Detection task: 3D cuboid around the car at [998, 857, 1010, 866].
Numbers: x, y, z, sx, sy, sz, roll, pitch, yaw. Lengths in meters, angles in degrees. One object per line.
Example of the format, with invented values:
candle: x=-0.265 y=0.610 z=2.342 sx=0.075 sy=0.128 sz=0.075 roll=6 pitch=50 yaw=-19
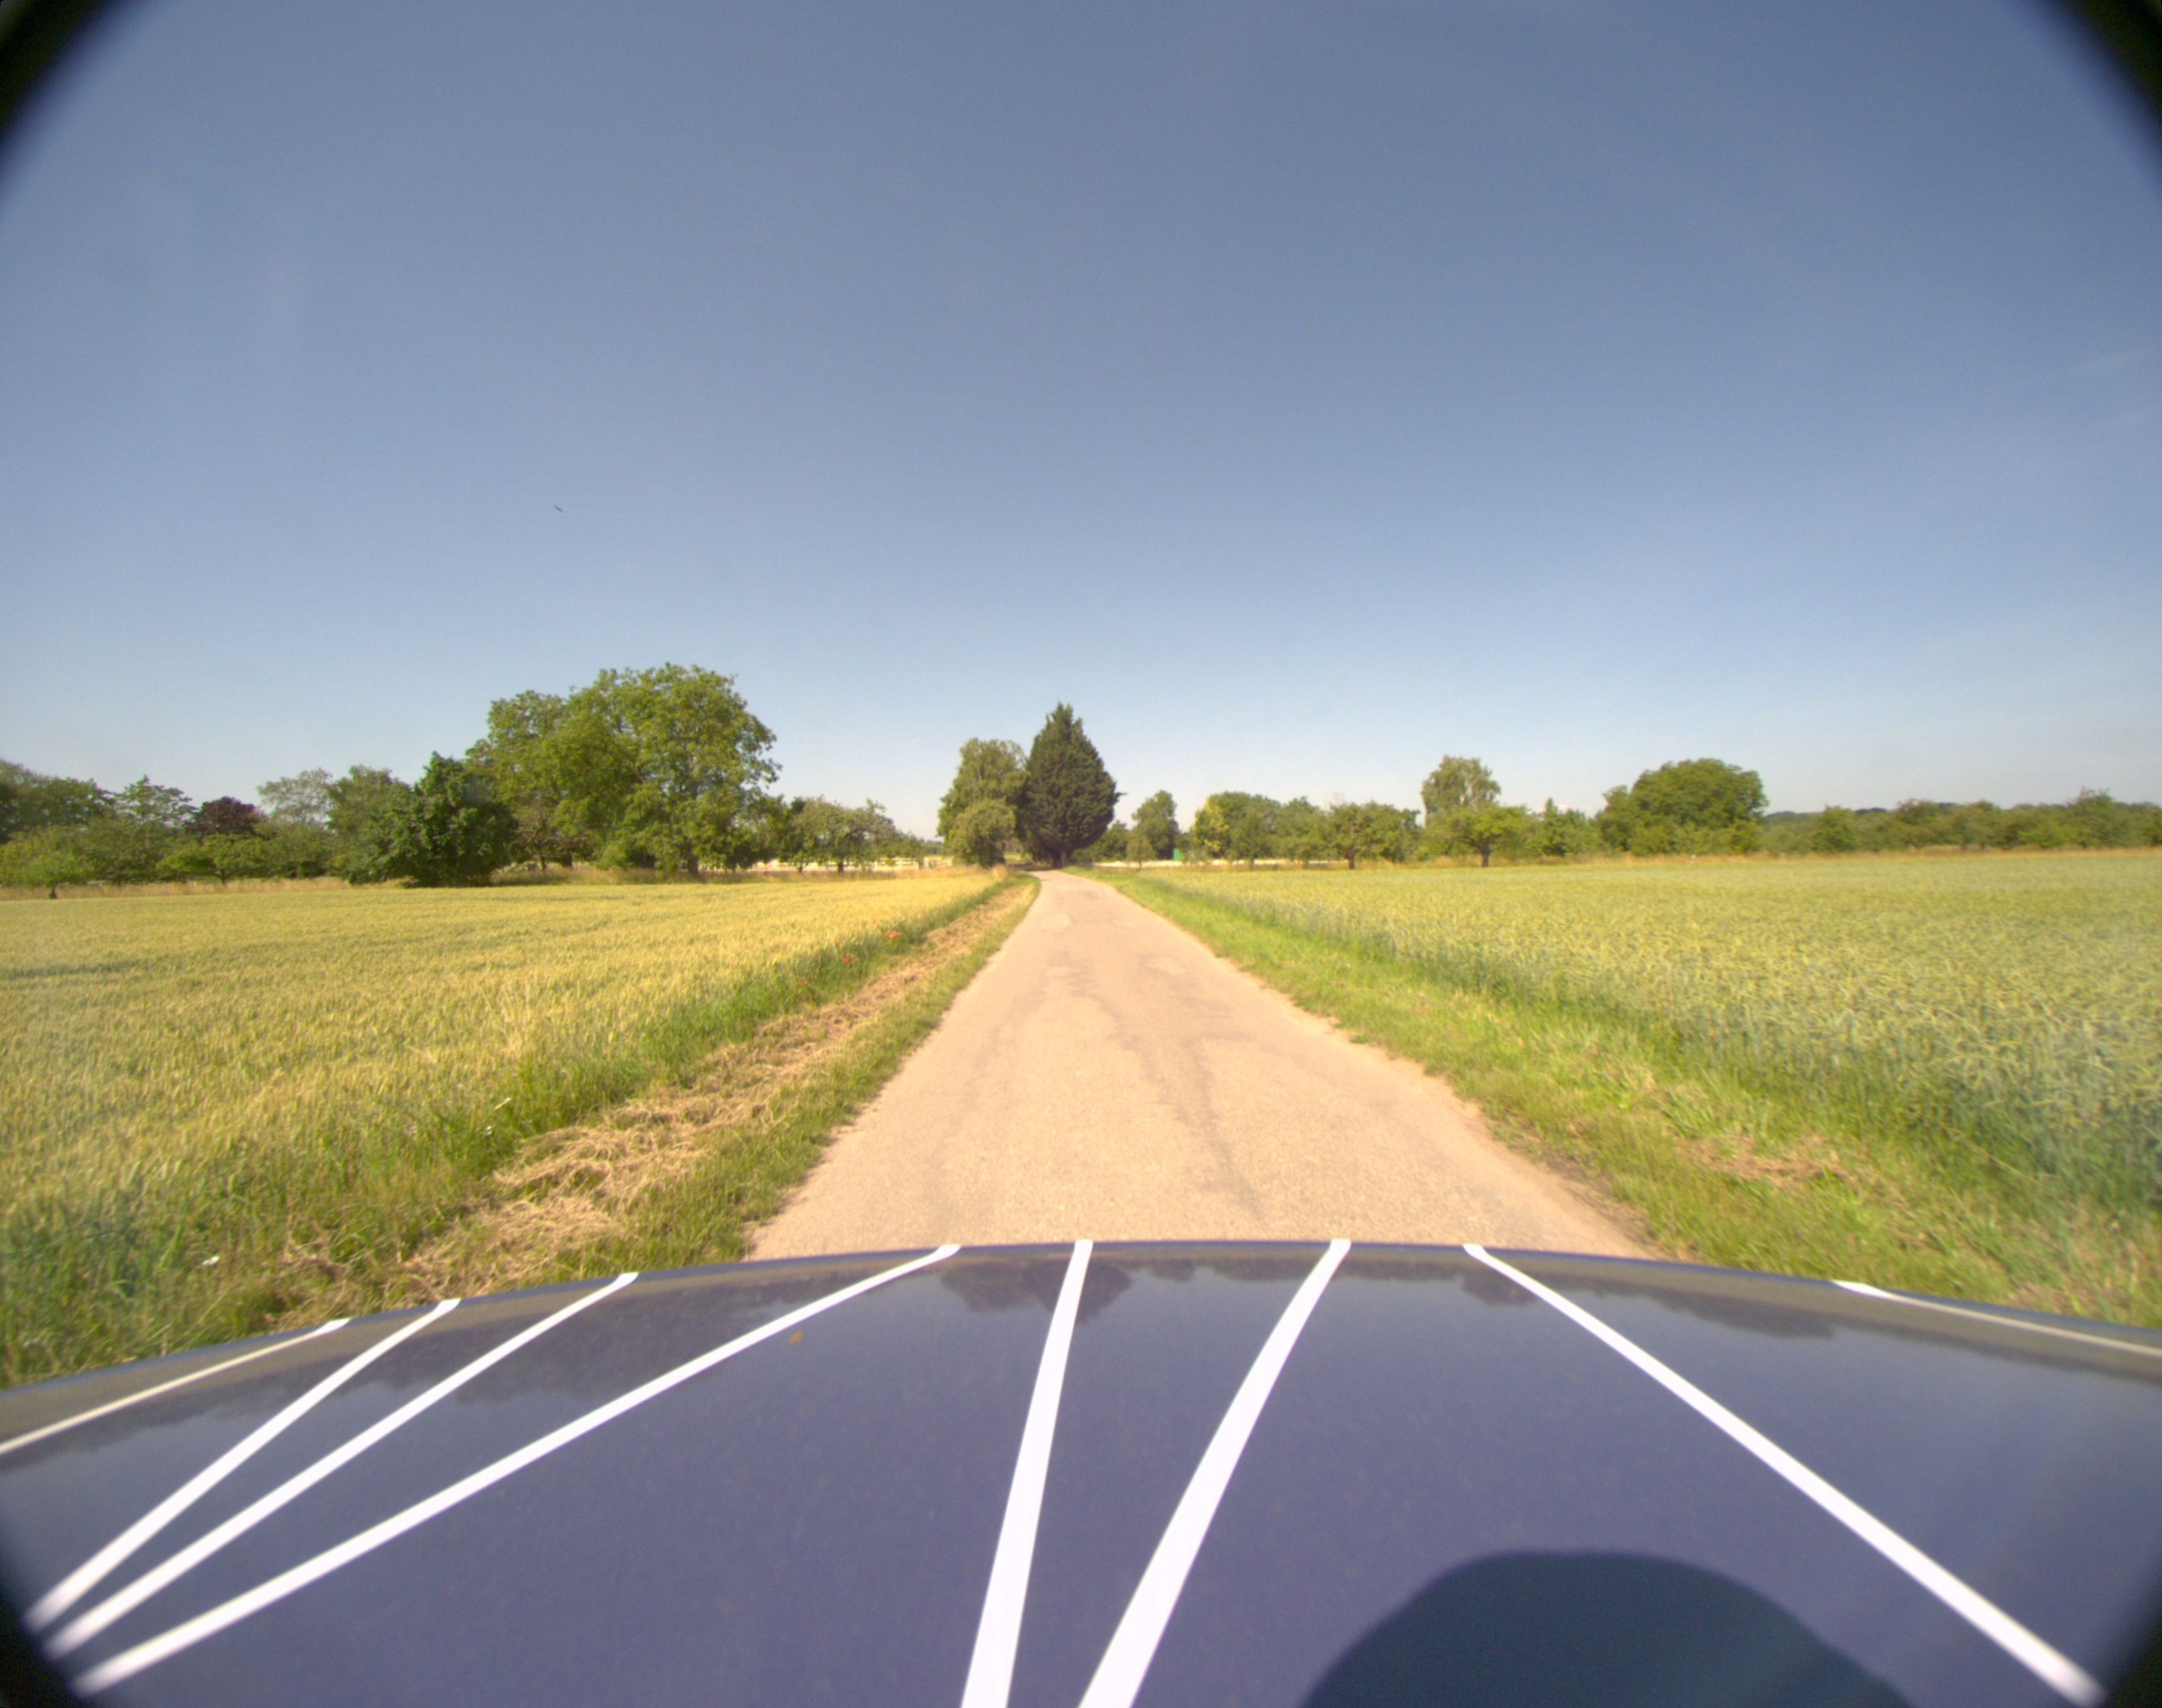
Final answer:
car: x=-12.018 y=1.142 z=118.448 sx=1.723 sy=1.312 sz=3.740 roll=-1 pitch=0 yaw=-9
